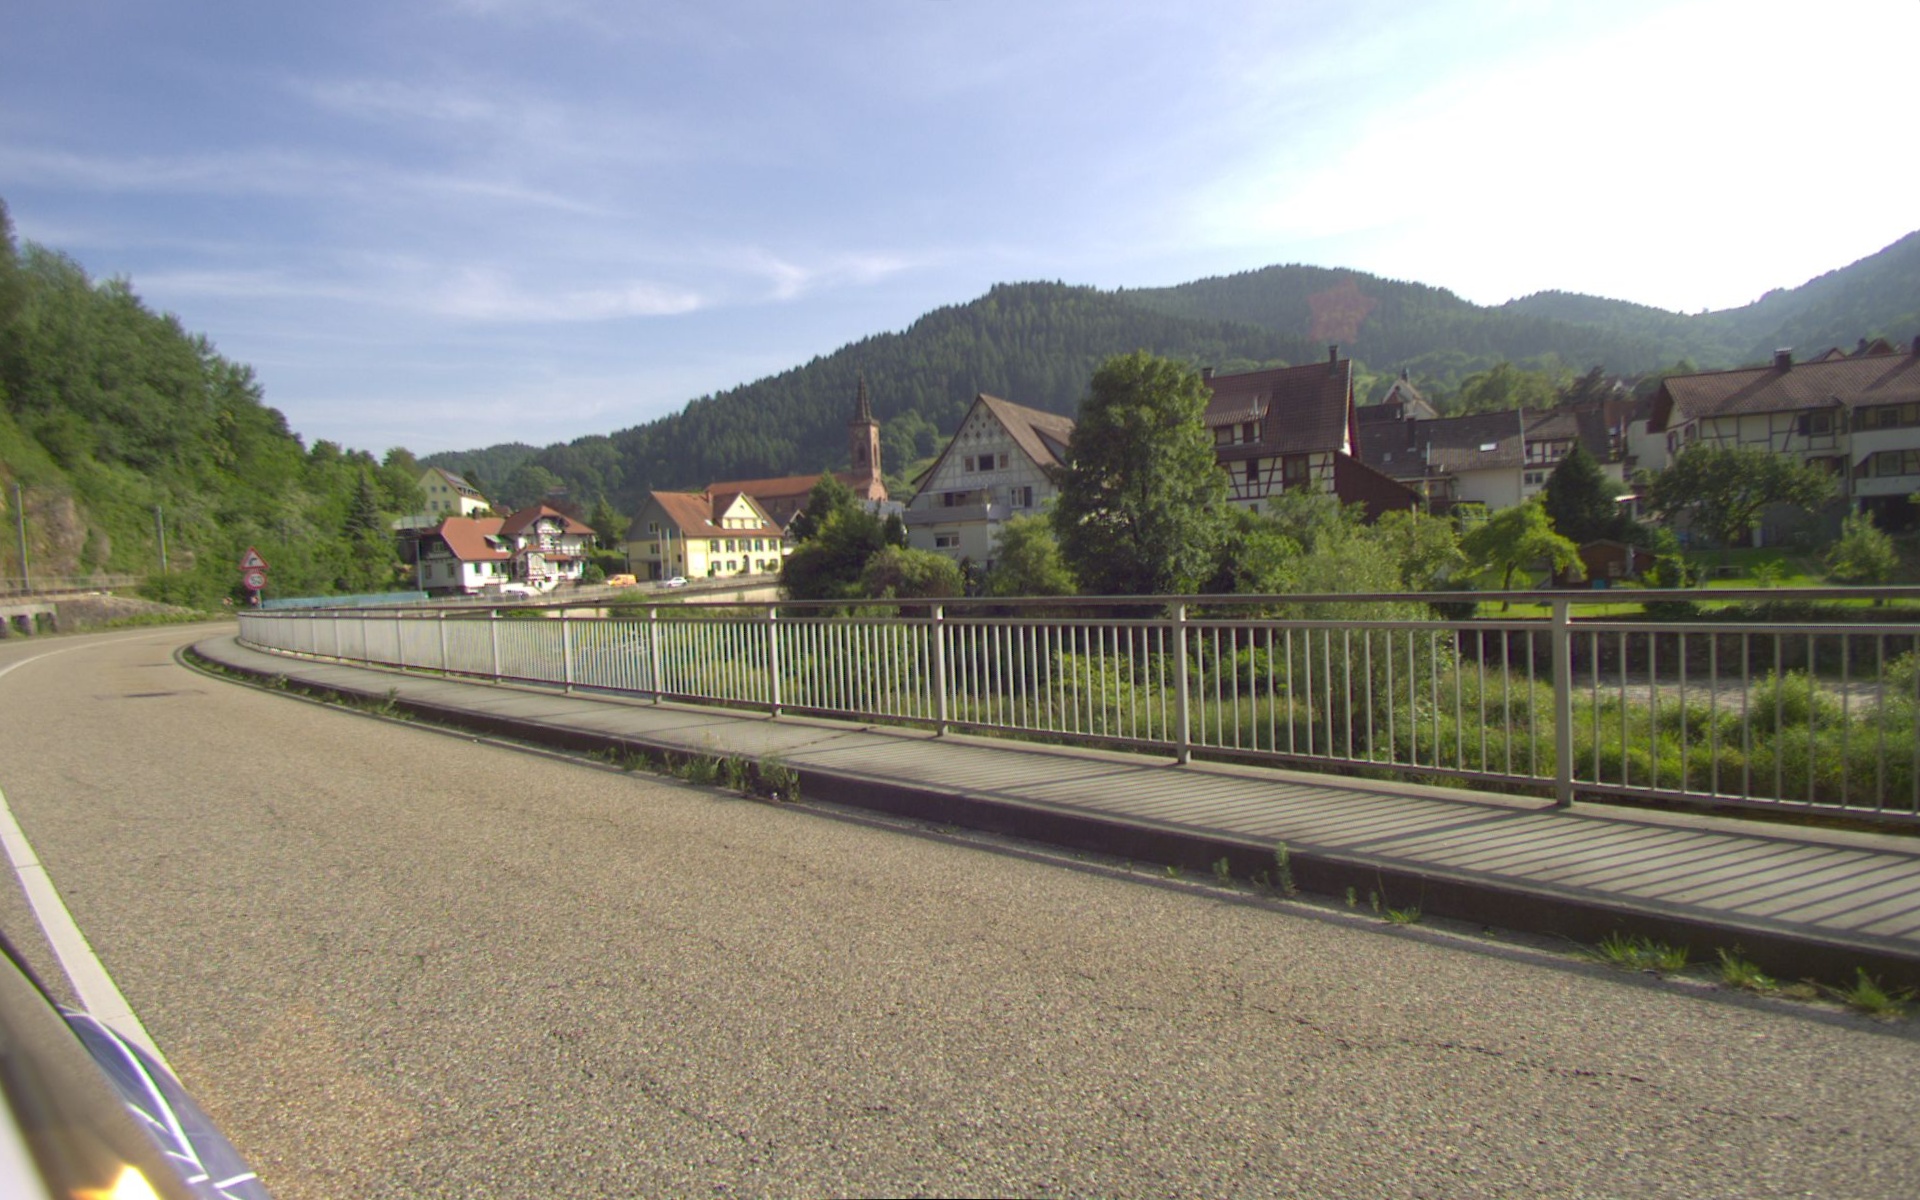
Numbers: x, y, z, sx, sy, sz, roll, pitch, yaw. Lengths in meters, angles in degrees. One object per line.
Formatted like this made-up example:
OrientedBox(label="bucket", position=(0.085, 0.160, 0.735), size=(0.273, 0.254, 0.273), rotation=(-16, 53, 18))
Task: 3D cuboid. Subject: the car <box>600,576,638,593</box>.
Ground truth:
OrientedBox(label="car", position=(-45.928, -2.079, 136.416), size=(1.906, 2.013, 4.789), rotation=(-1, -1, 28))
